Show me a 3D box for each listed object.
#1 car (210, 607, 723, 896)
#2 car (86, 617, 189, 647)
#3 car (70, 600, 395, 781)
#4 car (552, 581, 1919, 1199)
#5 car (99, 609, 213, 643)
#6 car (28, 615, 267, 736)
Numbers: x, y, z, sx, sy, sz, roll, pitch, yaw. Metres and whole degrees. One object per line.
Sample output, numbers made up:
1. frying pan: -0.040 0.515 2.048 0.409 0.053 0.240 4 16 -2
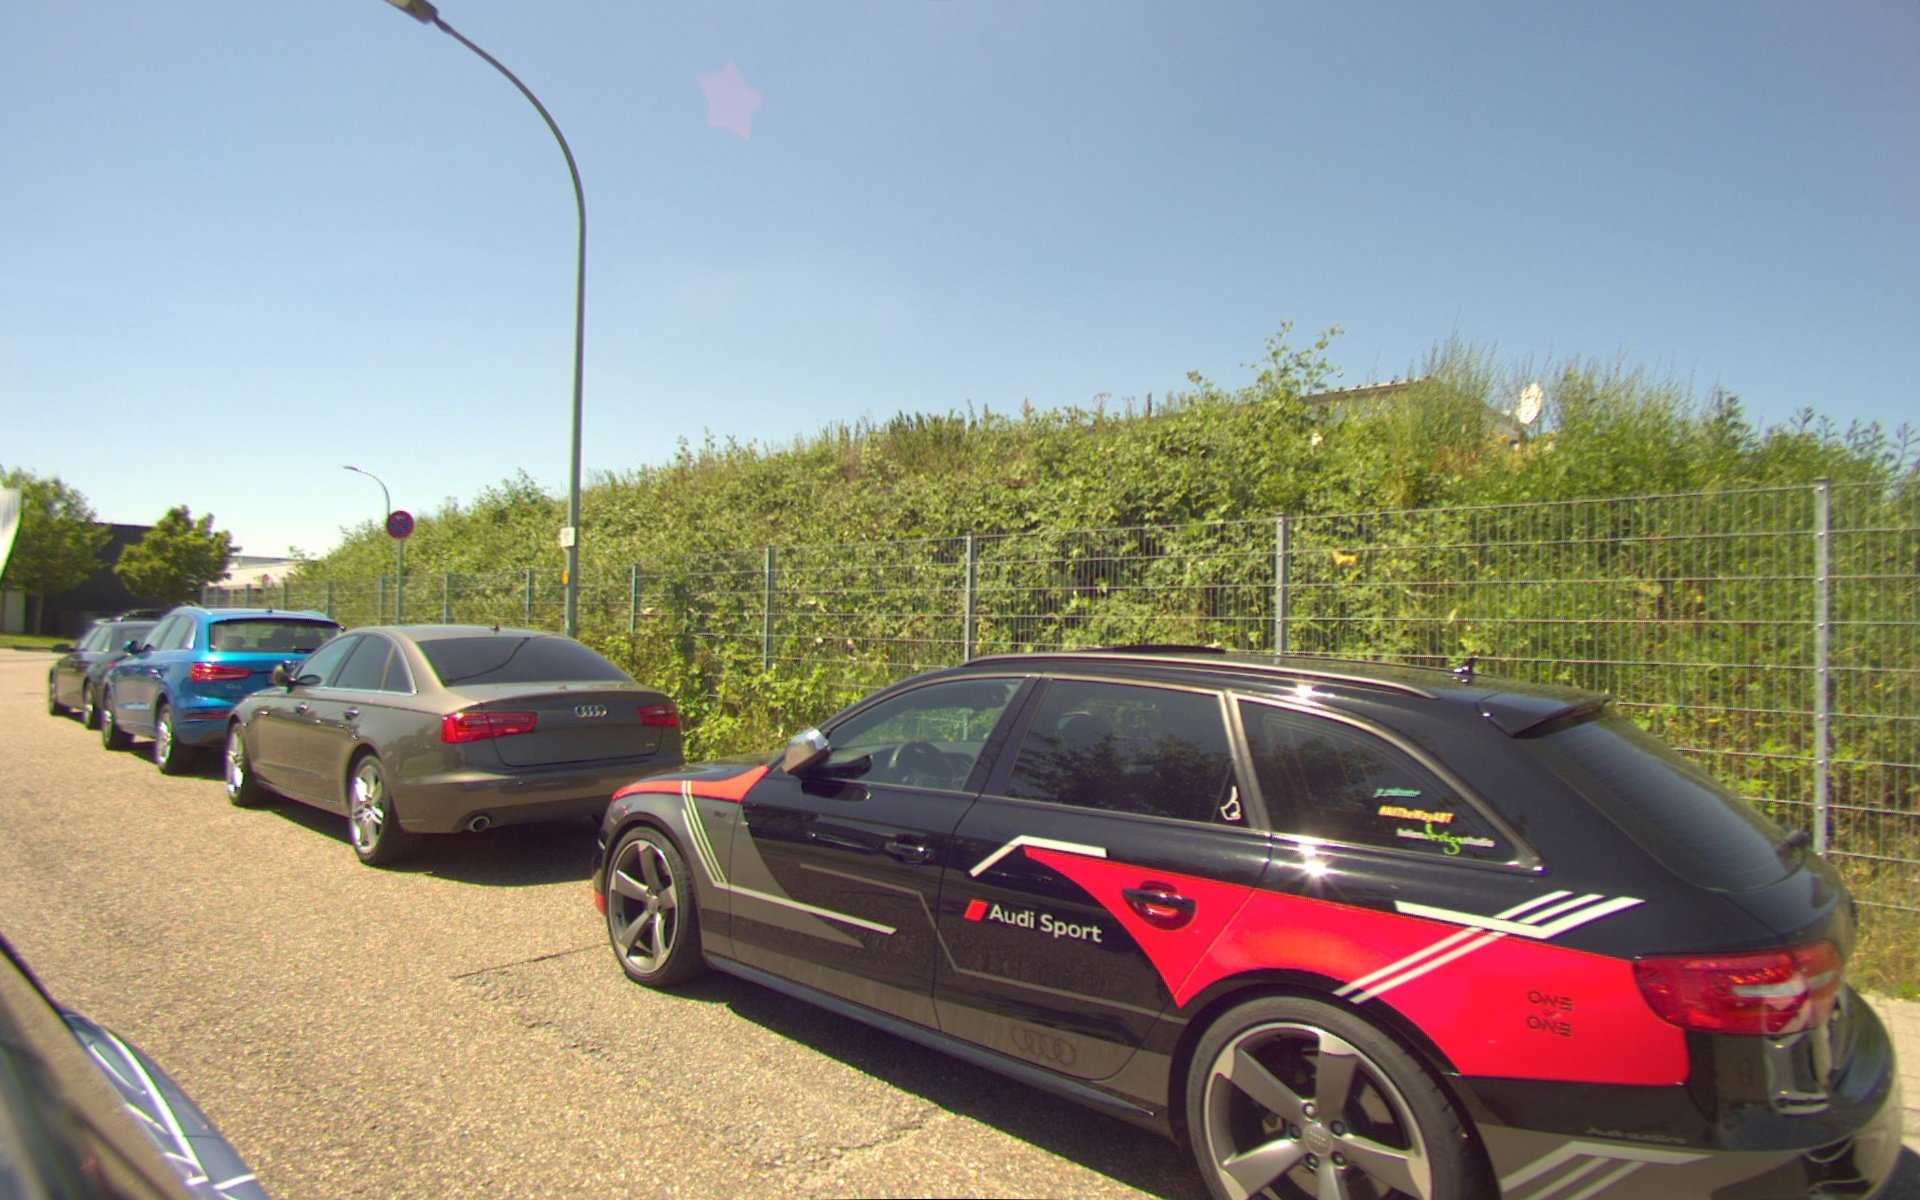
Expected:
1. car: -3.859 0.847 7.504 4.518 1.511 1.805 -1 -3 42
2. car: -45.524 1.772 56.075 1.779 1.579 4.116 -1 -3 40
3. car: -8.001 0.848 10.982 4.383 1.582 1.806 -1 -3 40
4. car: 0.507 0.781 3.630 4.518 1.511 1.805 -1 -3 42
5. car: -40.432 1.307 50.984 1.779 1.613 4.225 0 -1 40
6. car: -11.840 0.987 14.632 4.577 1.466 1.806 -1 -3 40
